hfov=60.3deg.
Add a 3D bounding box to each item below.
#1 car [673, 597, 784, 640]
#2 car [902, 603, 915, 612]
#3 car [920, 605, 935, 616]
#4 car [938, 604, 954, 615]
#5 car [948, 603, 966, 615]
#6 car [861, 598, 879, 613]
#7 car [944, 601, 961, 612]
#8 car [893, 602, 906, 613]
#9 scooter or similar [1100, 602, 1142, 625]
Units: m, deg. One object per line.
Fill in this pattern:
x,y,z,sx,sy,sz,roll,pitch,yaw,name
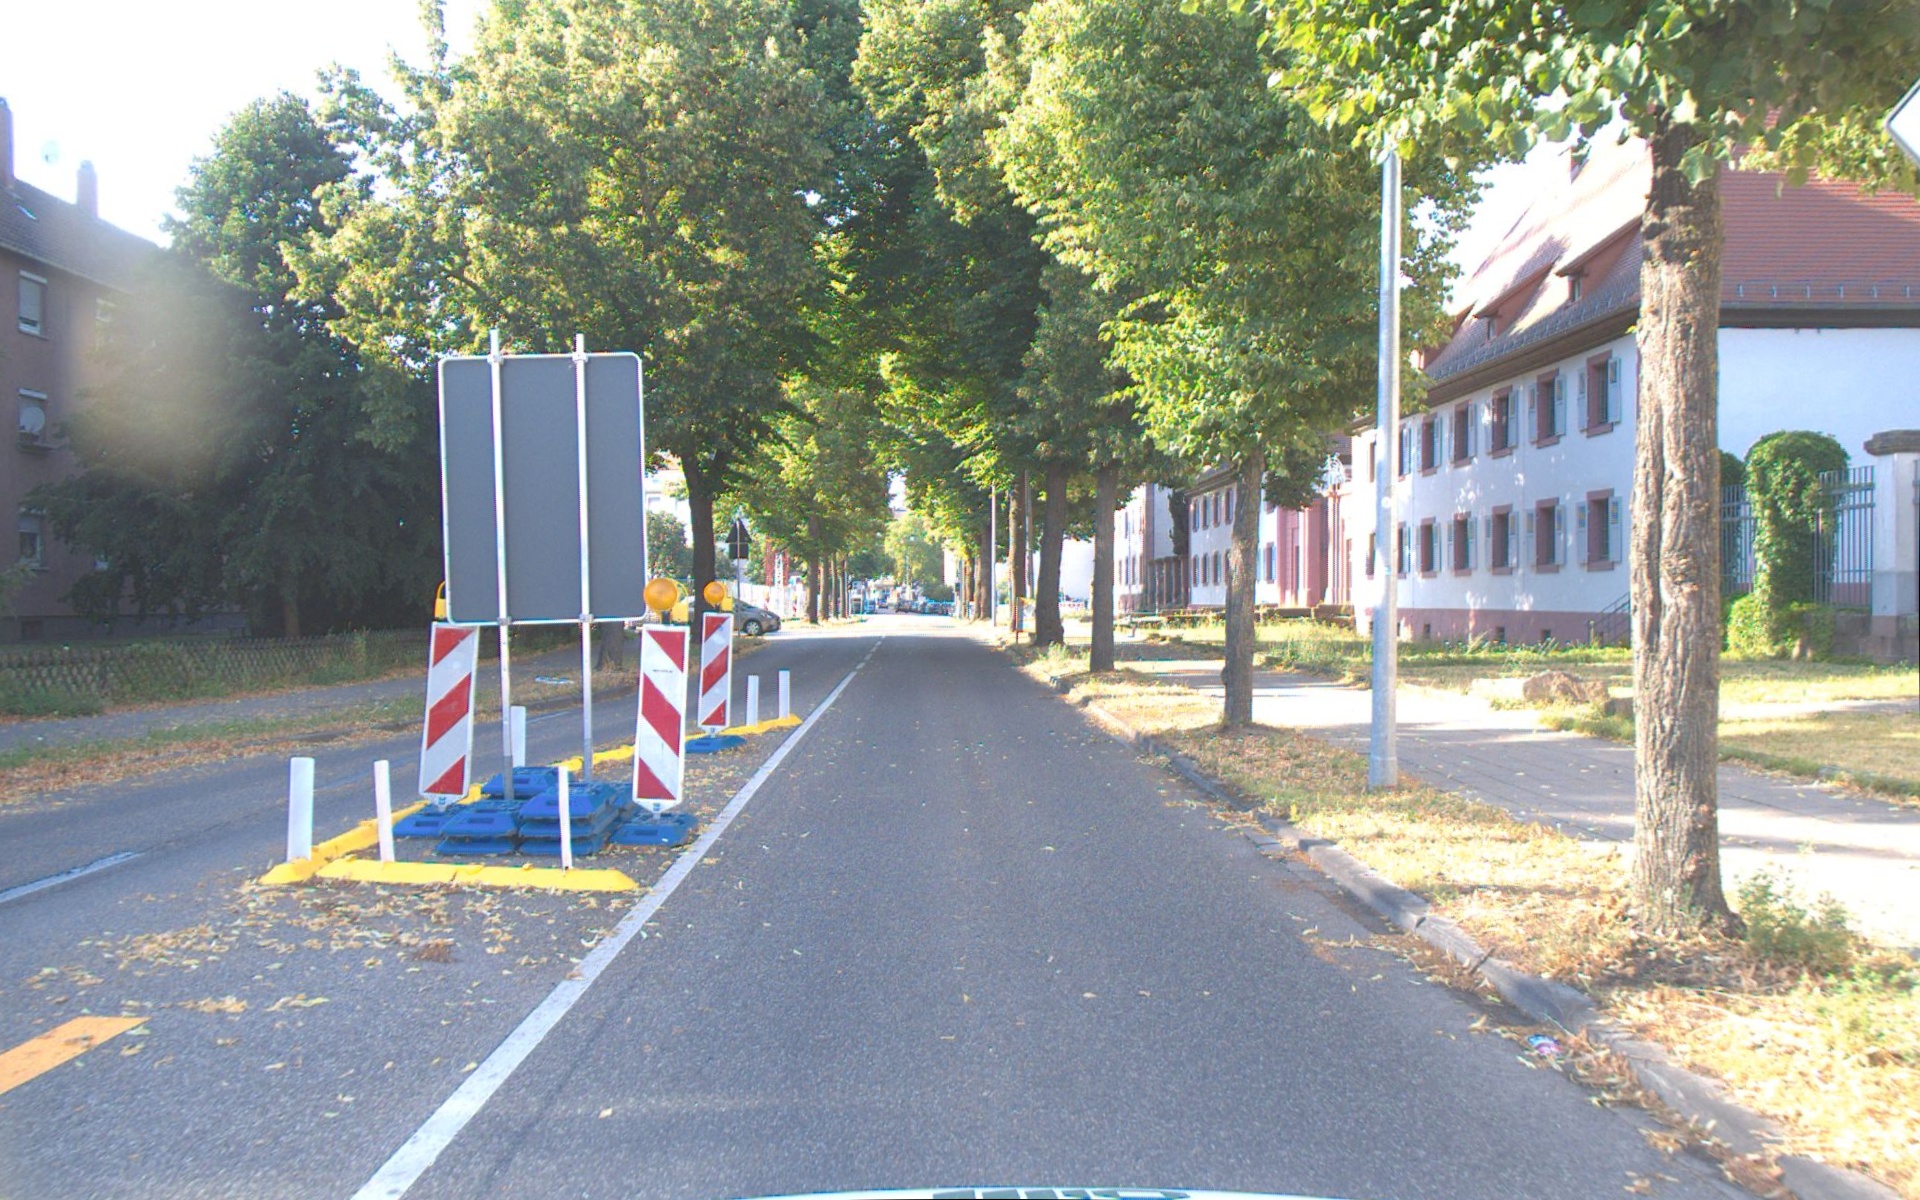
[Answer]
-8.381,0.667,60.034,3.765,1.499,1.651,0,0,0,car
-8.059,1.161,257.003,1.805,1.410,3.996,-1,0,-5,car
-4.417,1.420,224.699,1.805,1.410,3.996,-1,0,-5,car
-1.696,1.128,195.634,1.804,1.283,3.998,-1,0,-2,car
-0.333,0.985,177.297,1.804,1.283,3.998,-1,0,-2,car
-10.911,0.667,200.431,1.956,1.717,3.994,-1,-1,-7,car
-0.845,0.751,188.534,1.803,1.283,4.000,0,0,0,car
-8.802,1.111,239.003,1.681,1.512,3.996,-1,-1,-5,car
5.283,0.448,54.368,1.201,0.558,1.063,-9,0,-2,scooter or similar
